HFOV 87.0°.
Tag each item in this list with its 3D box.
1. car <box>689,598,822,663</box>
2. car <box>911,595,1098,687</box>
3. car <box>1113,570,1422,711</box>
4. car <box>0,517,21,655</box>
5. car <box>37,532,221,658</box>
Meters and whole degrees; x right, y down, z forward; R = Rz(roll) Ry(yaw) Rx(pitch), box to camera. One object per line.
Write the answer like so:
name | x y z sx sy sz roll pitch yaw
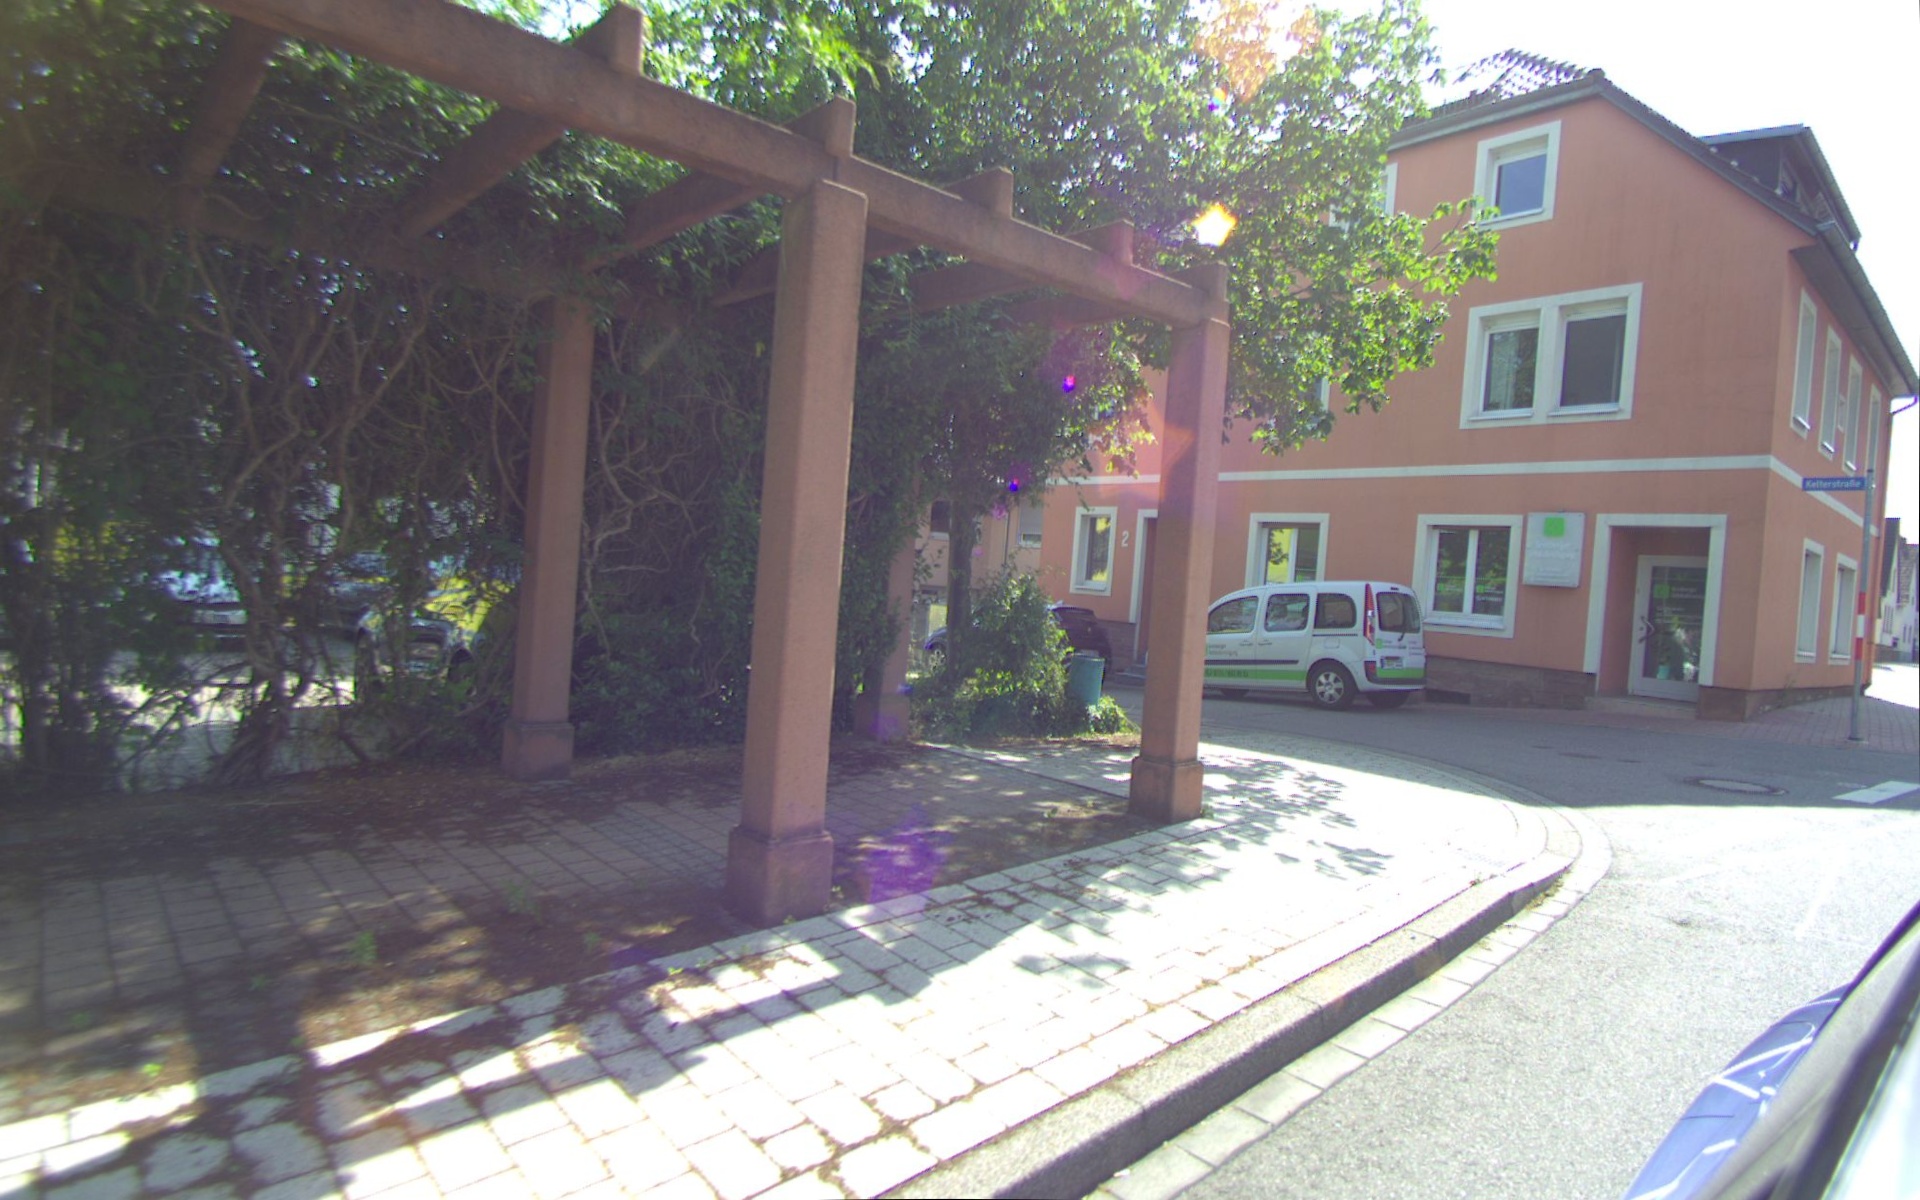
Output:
car | -5.665 0.778 27.761 1.904 1.614 4.032 1 0 -39
car | 0.756 0.730 18.894 1.549 1.545 3.497 1 -2 -40
car | 4.396 0.554 14.997 1.779 1.776 4.096 1 -2 -38
car | -13.174 -0.277 12.798 3.975 1.631 1.728 4 2 45
car | -11.831 -0.155 14.315 3.873 1.508 1.628 4 3 45
